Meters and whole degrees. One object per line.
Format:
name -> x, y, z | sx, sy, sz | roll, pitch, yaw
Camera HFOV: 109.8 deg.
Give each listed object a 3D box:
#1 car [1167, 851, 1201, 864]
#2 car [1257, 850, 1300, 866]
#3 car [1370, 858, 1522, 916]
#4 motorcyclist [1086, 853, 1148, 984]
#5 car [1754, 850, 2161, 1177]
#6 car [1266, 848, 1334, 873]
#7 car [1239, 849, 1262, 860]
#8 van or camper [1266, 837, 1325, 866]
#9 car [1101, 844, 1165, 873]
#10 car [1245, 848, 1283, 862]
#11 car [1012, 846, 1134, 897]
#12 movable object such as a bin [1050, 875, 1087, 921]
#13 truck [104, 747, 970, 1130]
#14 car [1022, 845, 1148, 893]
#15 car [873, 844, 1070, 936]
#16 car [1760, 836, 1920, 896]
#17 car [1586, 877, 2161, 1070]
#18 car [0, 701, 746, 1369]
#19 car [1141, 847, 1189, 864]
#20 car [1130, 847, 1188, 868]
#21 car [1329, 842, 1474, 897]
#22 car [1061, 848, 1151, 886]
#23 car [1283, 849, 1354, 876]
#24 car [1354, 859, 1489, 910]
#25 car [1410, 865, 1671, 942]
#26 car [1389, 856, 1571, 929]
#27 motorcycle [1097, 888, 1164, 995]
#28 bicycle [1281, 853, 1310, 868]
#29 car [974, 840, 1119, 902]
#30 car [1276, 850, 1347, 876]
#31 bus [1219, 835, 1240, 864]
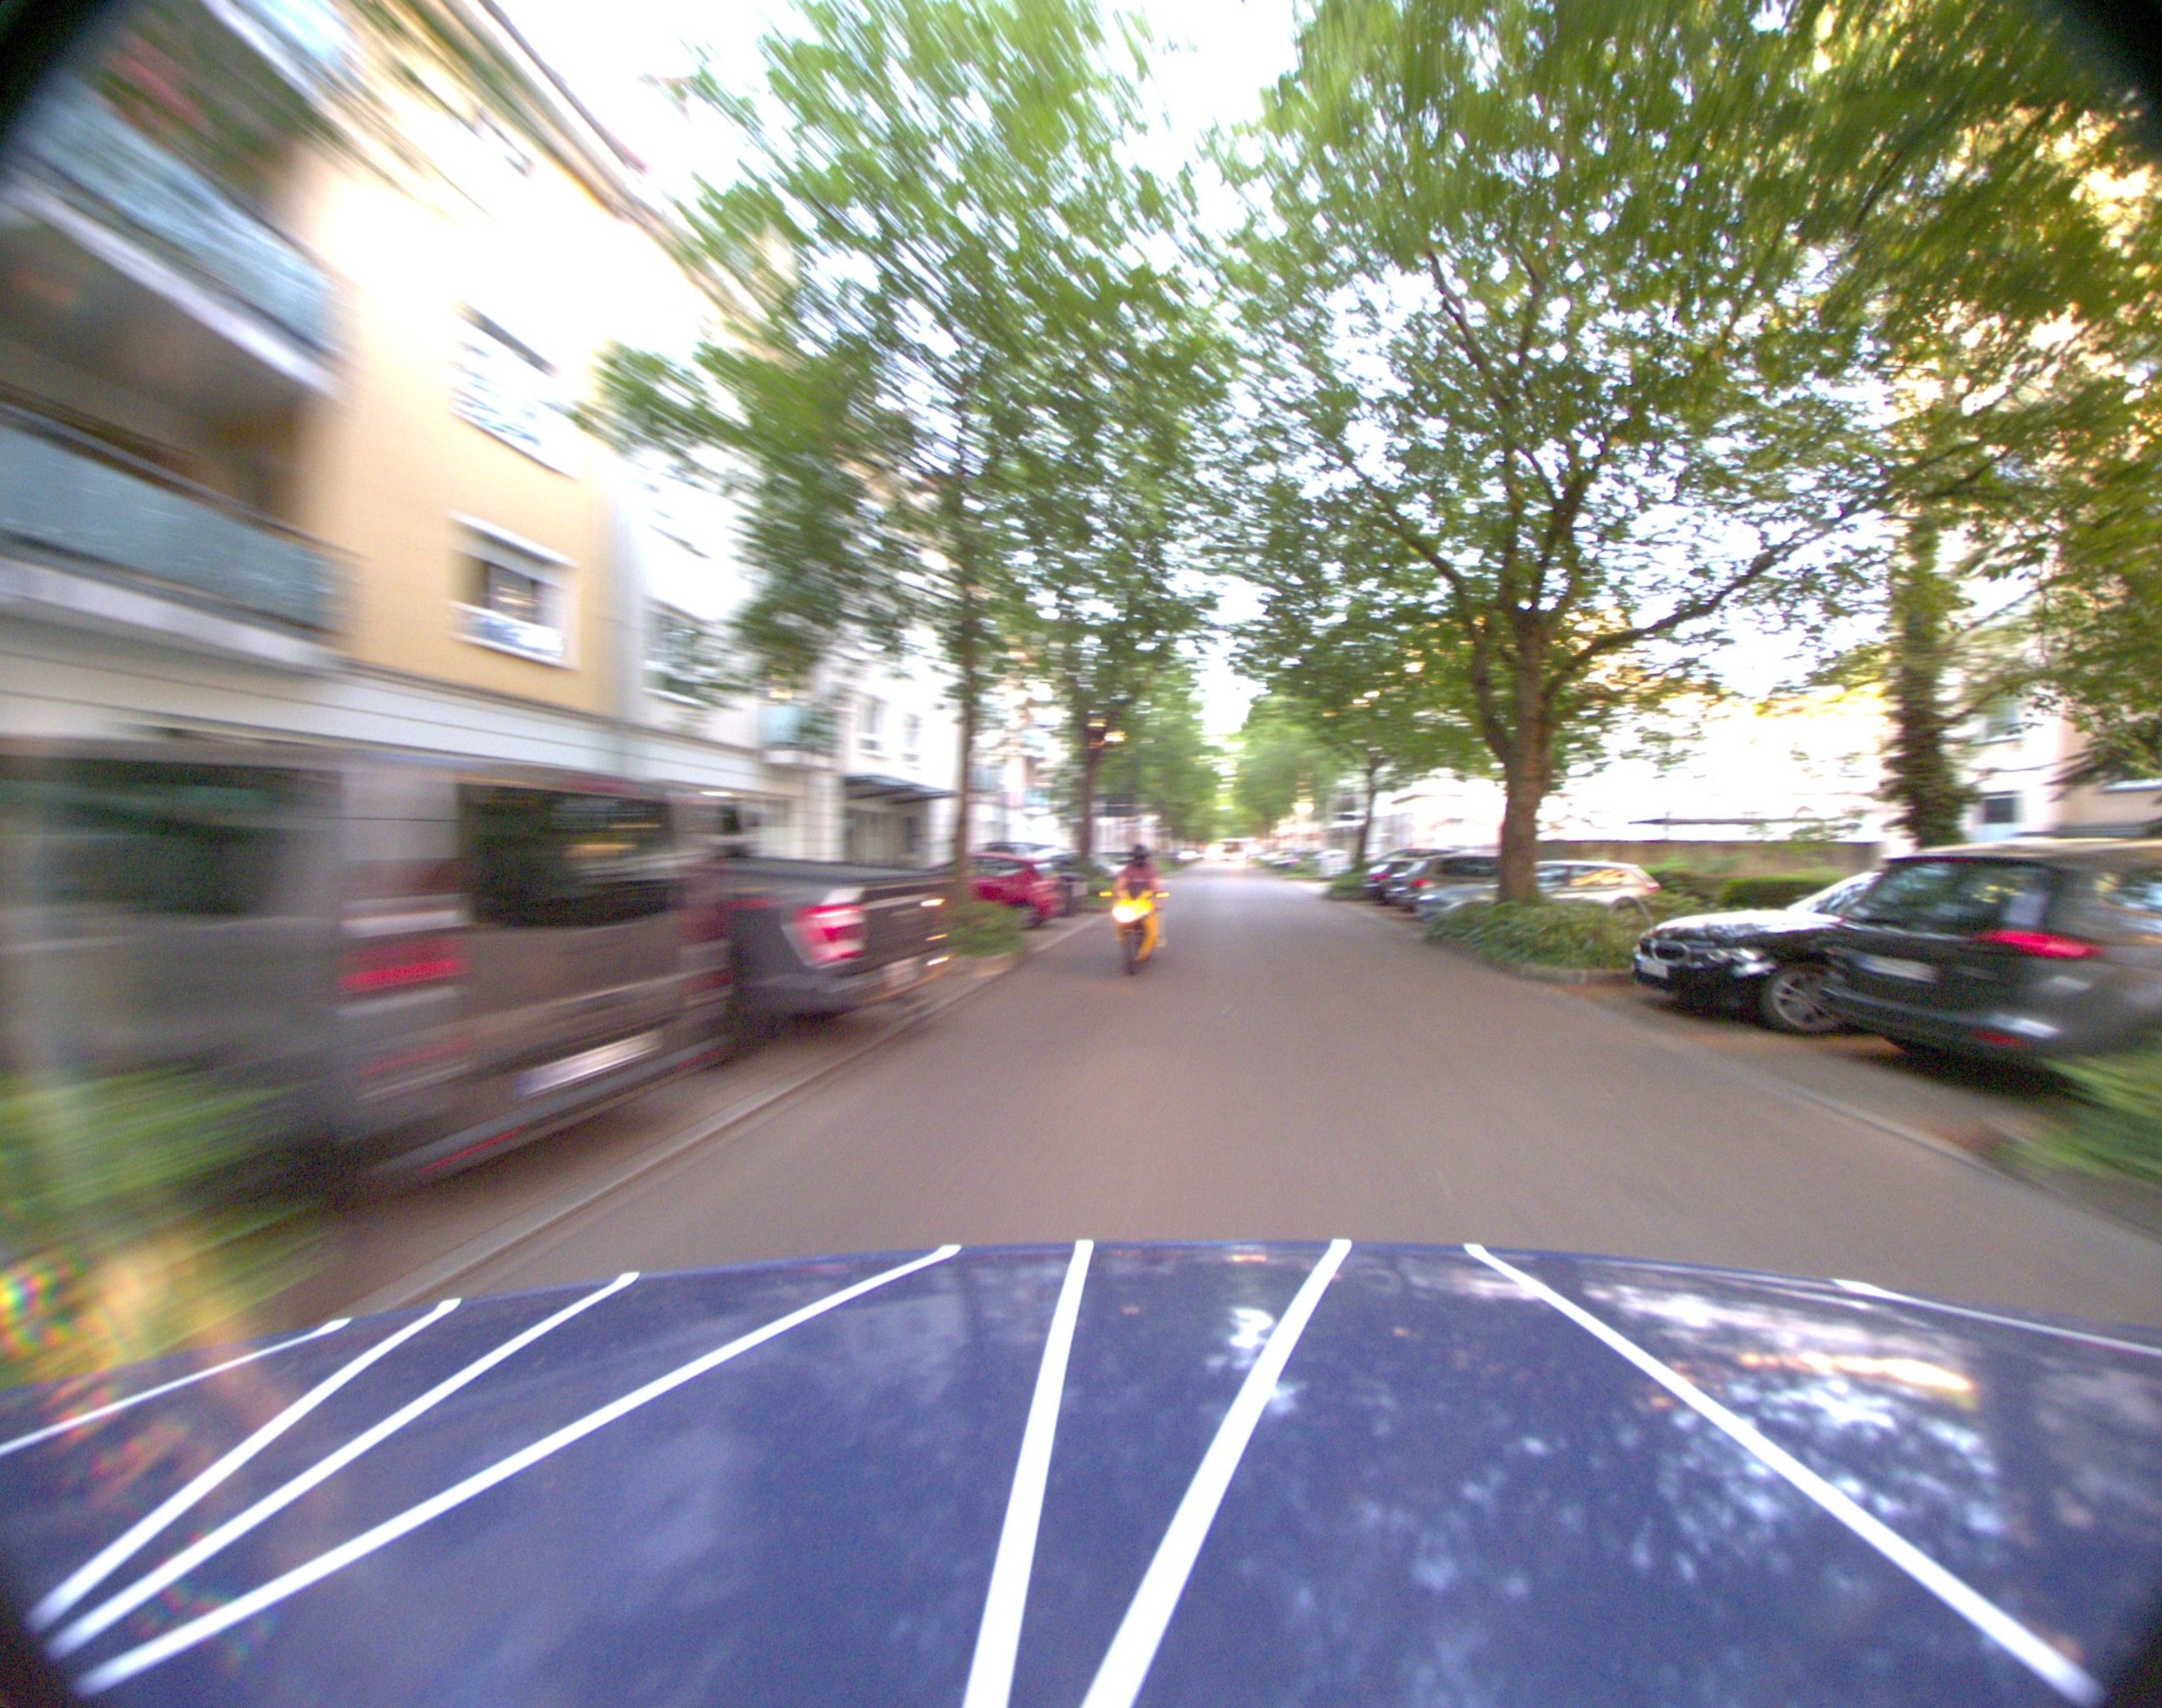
car -> 12.005, 0.444, 88.935 | 3.856, 1.390, 1.676 | 2, 1, 6
car -> 19.426, 0.374, 74.982 | 4.060, 1.519, 1.623 | 0, 0, 13
car -> 9.922, 0.861, 20.854 | 3.411, 1.498, 1.665 | 0, 1, 8
motorcyclist -> 0.483, 0.786, 9.819 | 0.721, 1.605, 0.915 | 0, 1, 7
car -> 7.480, 0.825, 4.807 | 4.404, 1.675, 2.065 | -1, 0, 8
car -> 15.797, 0.444, 54.949 | 4.544, 1.673, 1.622 | 1, 1, 6
car -> 28.935, 0.082, 129.846 | 3.855, 1.623, 1.676 | 2, 1, 10
van or camper -> 18.791, -0.240, 66.725 | 4.825, 2.413, 1.946 | 1, 1, 10
car -> 3.408, 0.280, 49.174 | 3.868, 1.657, 1.927 | 3, 1, 10
car -> 23.028, 0.144, 95.658 | 4.471, 1.748, 1.792 | 1, 1, 6
car -> -0.255, 0.583, 27.138 | 3.993, 1.517, 1.728 | 3, 1, 12
movable object such as a bin -> -0.294, 1.036, 18.199 | 0.776, 1.061, 0.589 | 0, 1, 9
truck -> -4.245, 0.461, 6.389 | 6.013, 2.121, 2.262 | 4, 1, 10
car -> 0.206, 0.538, 29.392 | 4.580, 1.543, 1.774 | 3, 1, 9
car -> -2.216, 0.686, 15.981 | 3.671, 1.540, 1.781 | 4, 3, 8
car -> 26.637, 0.423, 26.921 | 1.785, 1.944, 4.420 | 0, -1, 10
car -> 7.761, 0.969, 7.020 | 4.724, 1.416, 2.073 | 0, 1, 8
car -> -4.471, 0.458, 3.843 | 4.627, 2.121, 2.038 | 4, 1, 10
car -> 8.495, 0.158, 76.372 | 4.590, 1.461, 1.697 | 2, 1, 11
car -> 6.375, 0.242, 61.928 | 4.363, 1.461, 1.733 | 3, 1, 15
car -> 11.273, 0.530, 27.048 | 4.426, 1.881, 2.001 | 0, 1, 9
car -> 1.202, 0.564, 35.198 | 3.995, 1.466, 1.914 | 4, 1, 6
car -> 14.608, 0.509, 46.915 | 3.994, 1.582, 1.790 | 0, 1, 9
car -> 10.185, 0.896, 22.920 | 3.411, 1.434, 1.595 | 0, 1, 8
car -> 8.997, 0.962, 15.206 | 4.107, 1.371, 1.748 | -1, 1, 8
car -> 9.327, 0.864, 18.016 | 3.411, 1.600, 1.762 | 0, 1, 8
motorcycle -> 0.681, 1.055, 9.826 | 0.735, 1.115, 2.109 | 0, 0, 7
bicycle -> 14.950, 0.437, 52.975 | 1.905, 1.019, 0.480 | 1, 1, 8
car -> -1.032, 0.509, 24.366 | 4.394, 1.694, 1.895 | 3, 1, 2
car -> 14.212, 0.520, 47.041 | 3.994, 1.579, 1.829 | 0, 1, 8
bus -> 21.593, -0.631, 110.606 | 2.831, 4.086, 7.837 | 1, 1, 10
